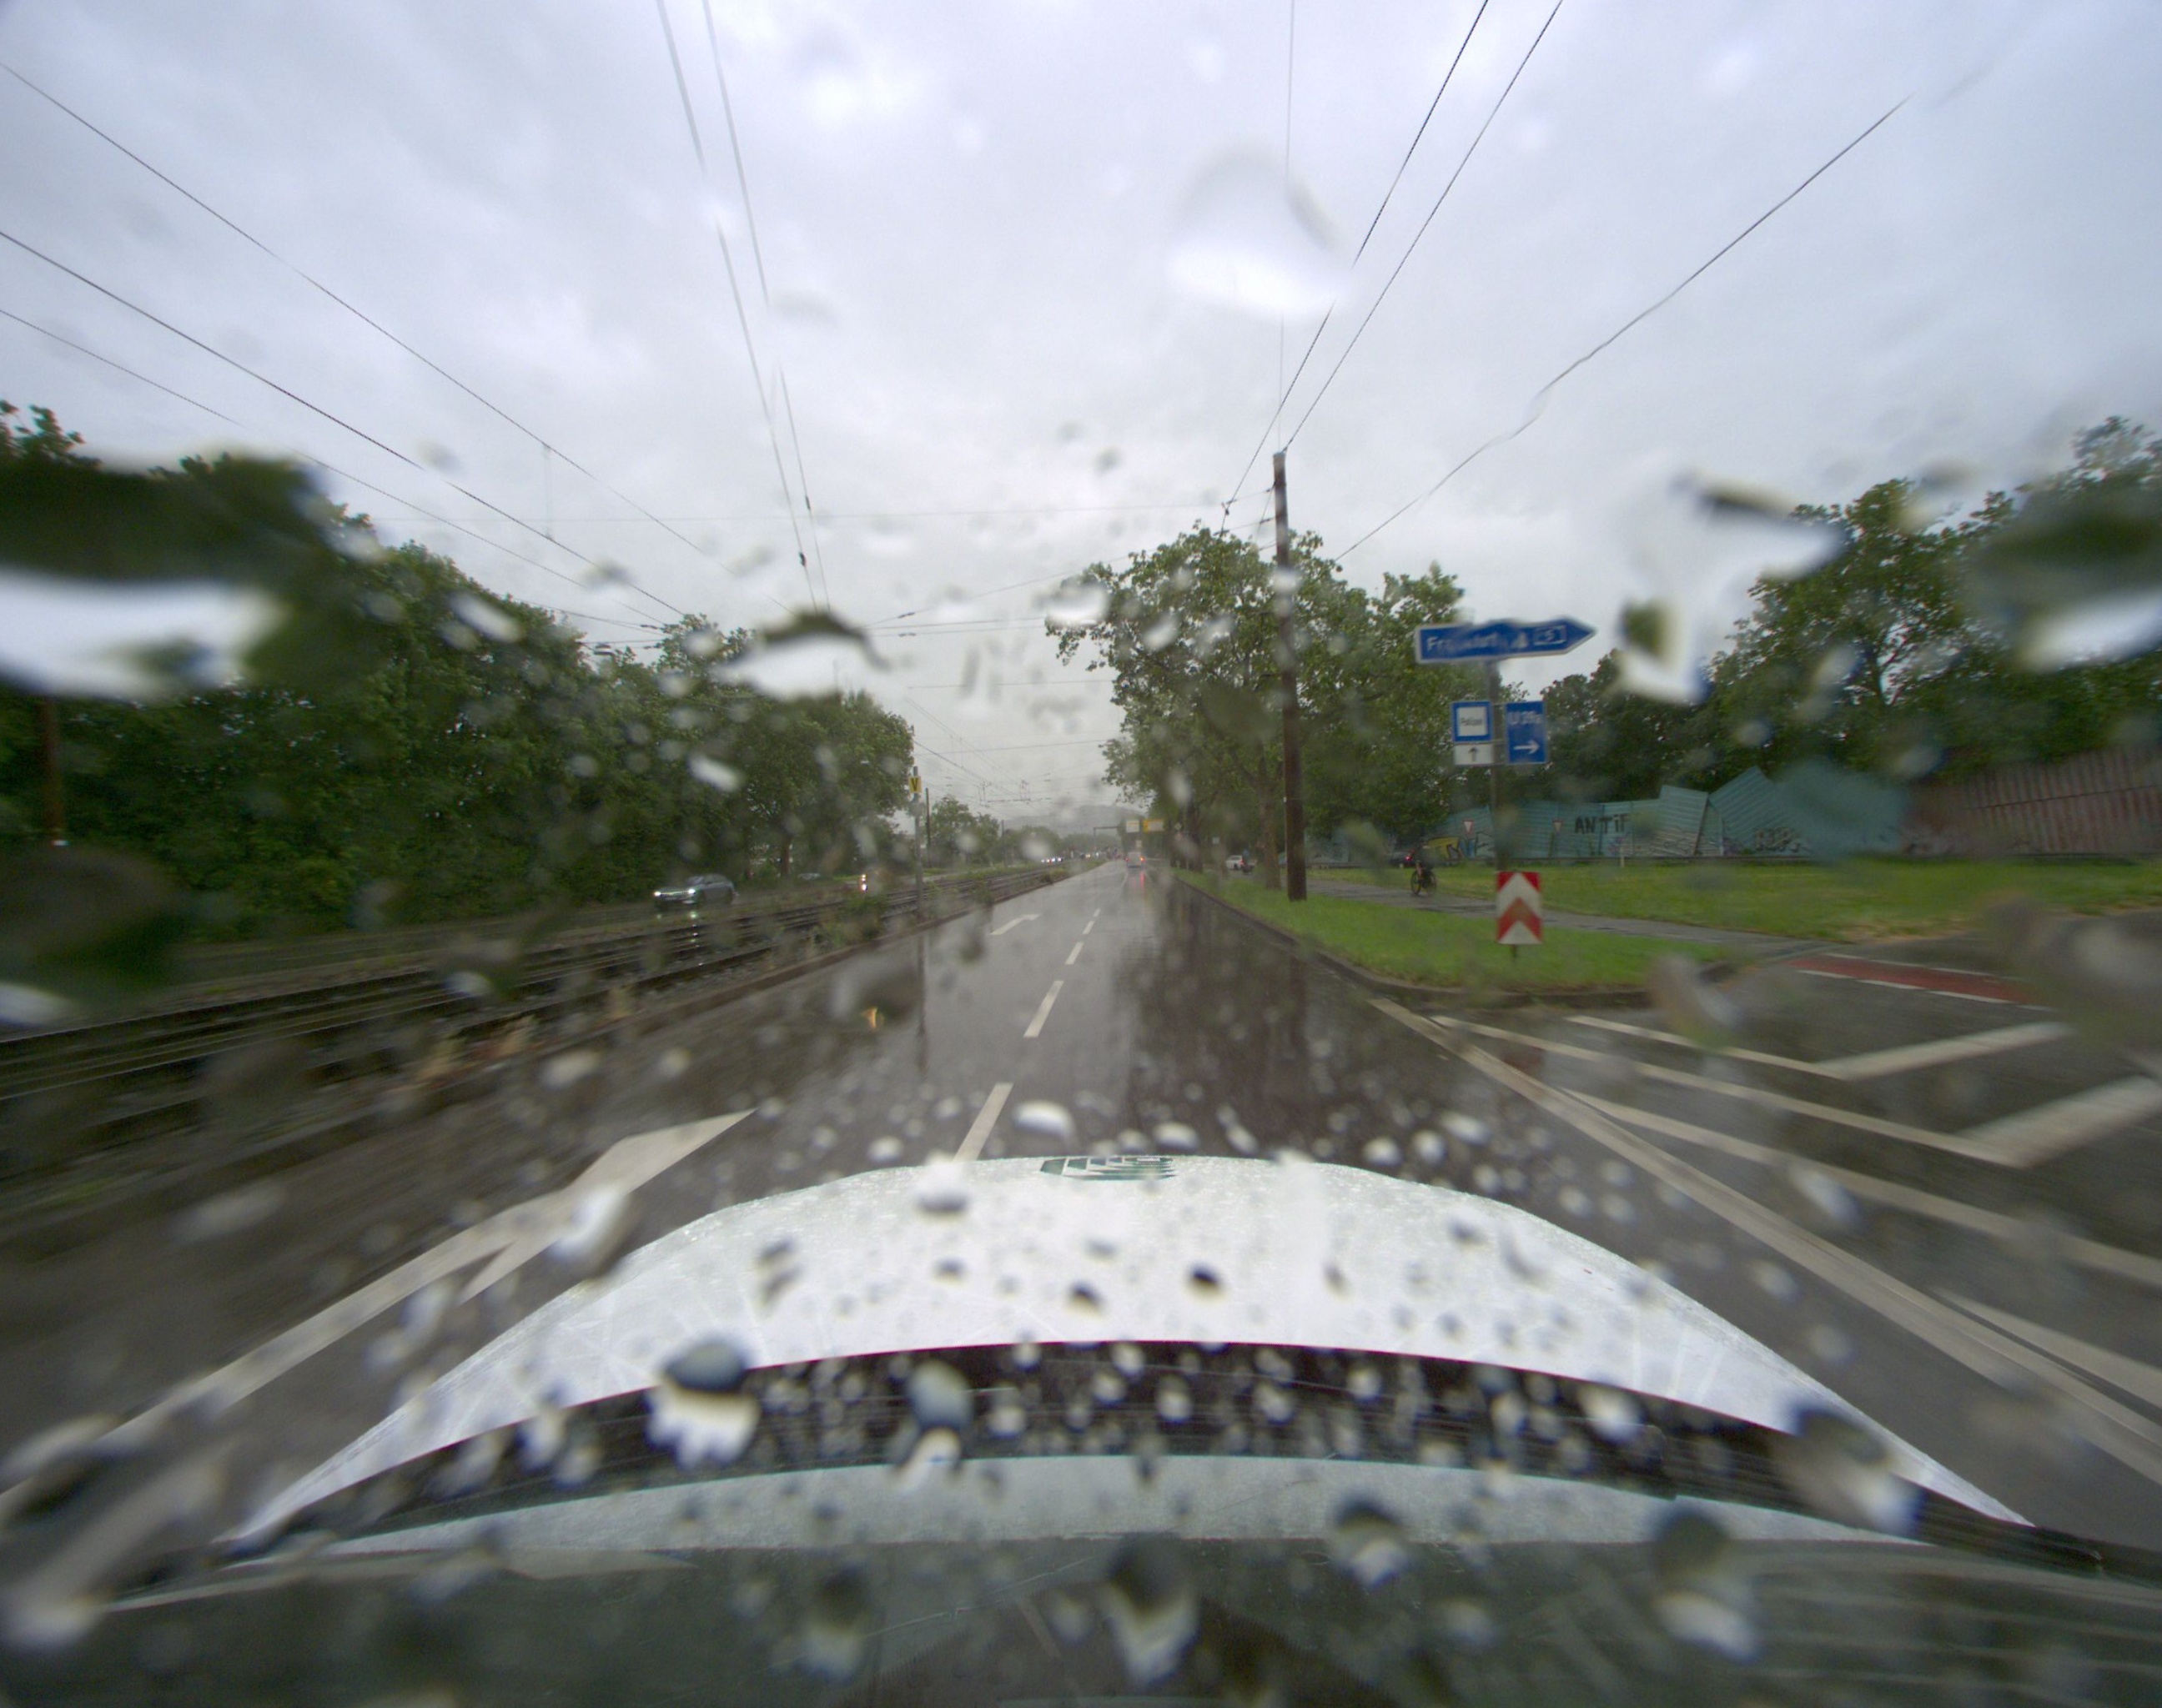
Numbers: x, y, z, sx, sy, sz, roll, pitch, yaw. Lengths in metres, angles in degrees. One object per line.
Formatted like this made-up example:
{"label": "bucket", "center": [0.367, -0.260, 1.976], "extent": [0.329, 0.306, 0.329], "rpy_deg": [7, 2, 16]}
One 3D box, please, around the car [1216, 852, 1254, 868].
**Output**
{"label": "car", "center": [15.419, 0.632, 81.701], "extent": [1.953, 1.536, 4.440], "rpy_deg": [-2, 0, -17]}

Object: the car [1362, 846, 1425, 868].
{"label": "car", "center": [23.536, 0.237, 61.551], "extent": [1.871, 1.536, 4.482], "rpy_deg": [-2, 0, -23]}

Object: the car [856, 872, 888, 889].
{"label": "car", "center": [-18.618, 2.340, 72.586], "extent": [1.676, 1.406, 3.941], "rpy_deg": [-2, 0, 2]}

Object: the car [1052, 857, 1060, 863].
{"label": "car", "center": [-6.764, 1.589, 220.518], "extent": [1.937, 1.616, 4.986], "rpy_deg": [-2, 0, -1]}

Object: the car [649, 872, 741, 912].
{"label": "car", "center": [-17.370, 1.642, 36.929], "extent": [1.684, 1.523, 4.957], "rpy_deg": [-2, 0, 1]}

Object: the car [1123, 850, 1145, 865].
{"label": "car", "center": [5.389, 0.326, 83.045], "extent": [2.069, 1.420, 4.003], "rpy_deg": [-3, 0, 3]}
